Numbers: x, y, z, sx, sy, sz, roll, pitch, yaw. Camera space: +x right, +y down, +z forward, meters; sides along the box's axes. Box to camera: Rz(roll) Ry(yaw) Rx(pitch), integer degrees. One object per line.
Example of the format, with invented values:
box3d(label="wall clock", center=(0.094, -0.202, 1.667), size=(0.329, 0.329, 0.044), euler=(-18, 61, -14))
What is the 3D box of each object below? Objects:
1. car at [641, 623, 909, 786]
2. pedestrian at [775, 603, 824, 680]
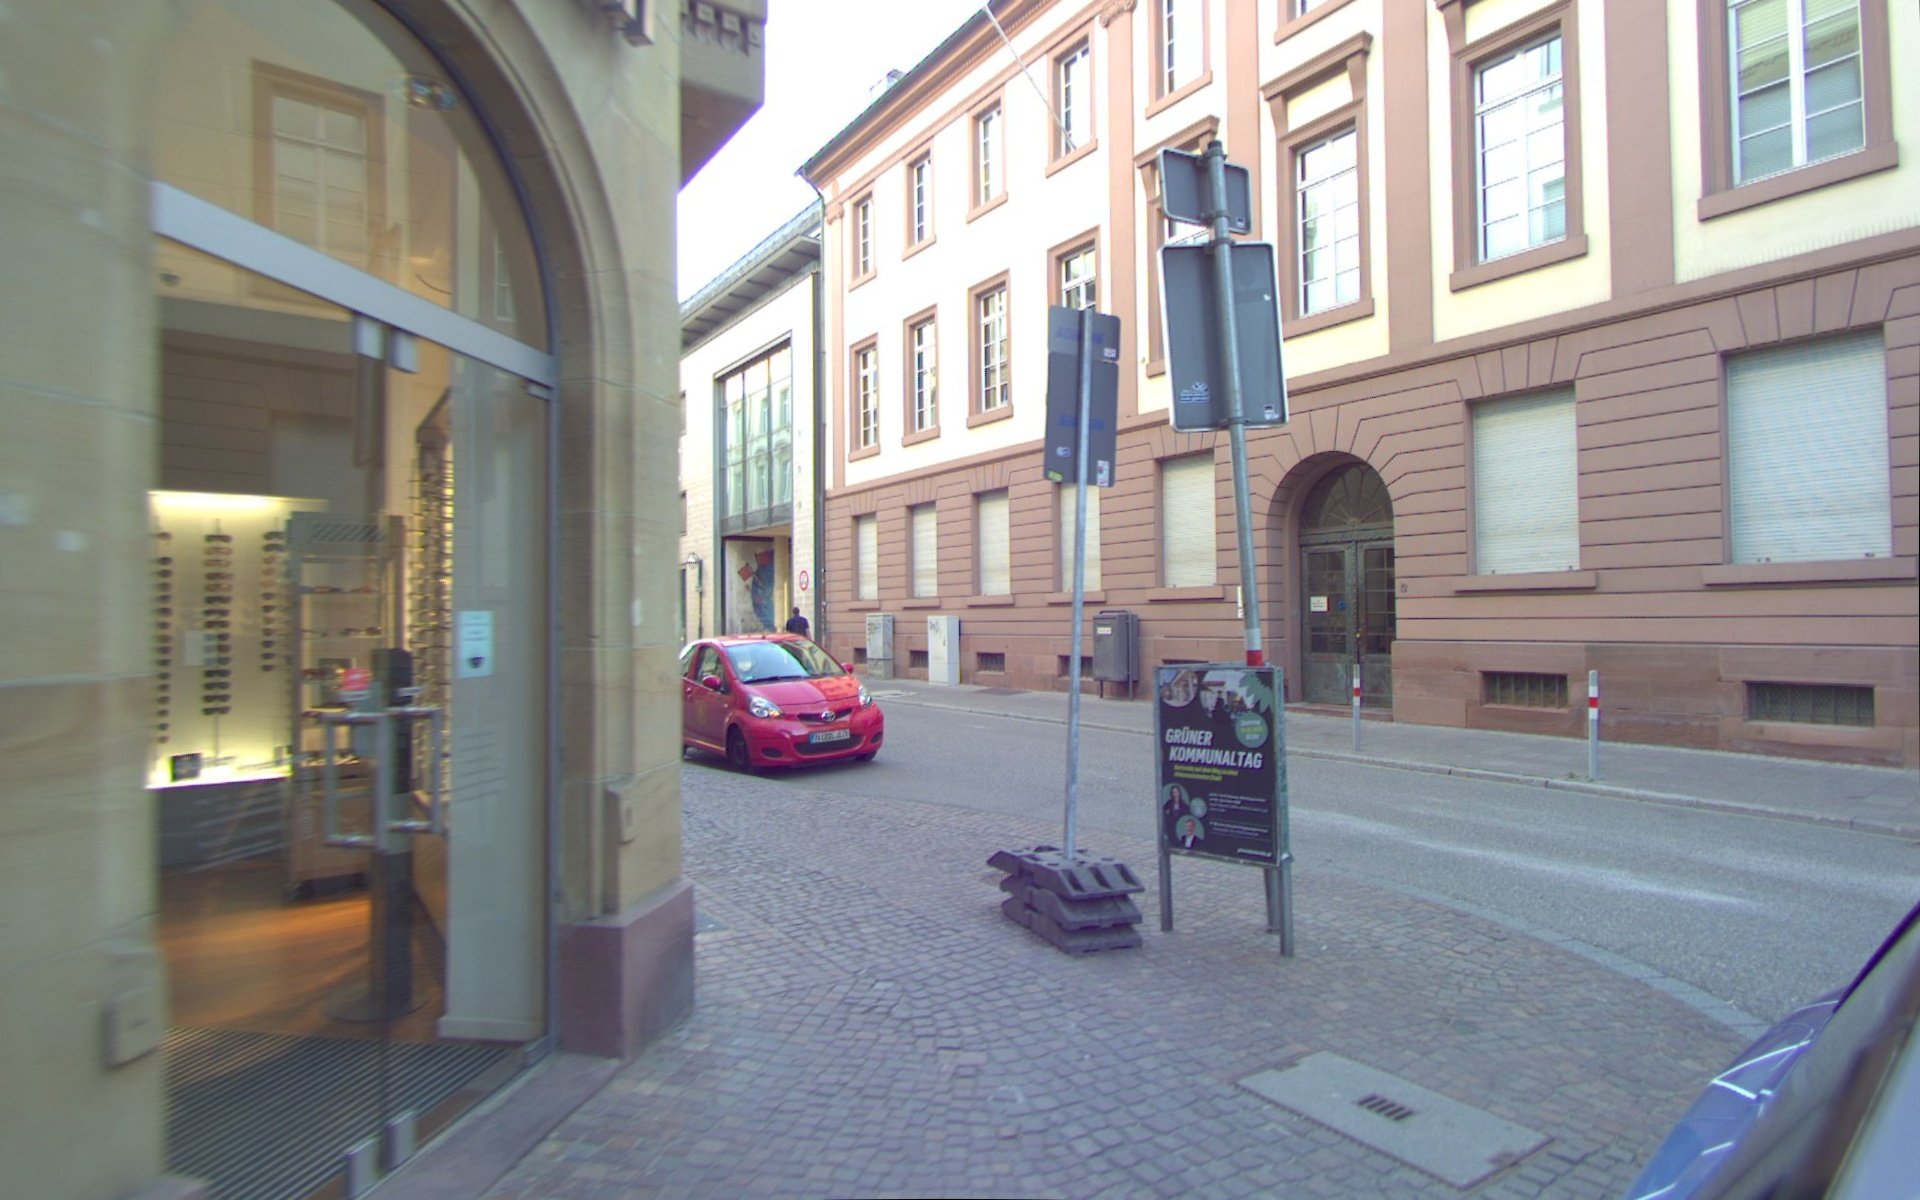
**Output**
box3d(label="car", center=(-2.328, 1.053, 11.818), size=(1.619, 1.460, 4.001), euler=(-3, 0, -33))
box3d(label="pedestrian", center=(-3.876, 0.978, 24.429), size=(0.911, 1.801, 0.941), euler=(0, -1, -29))
